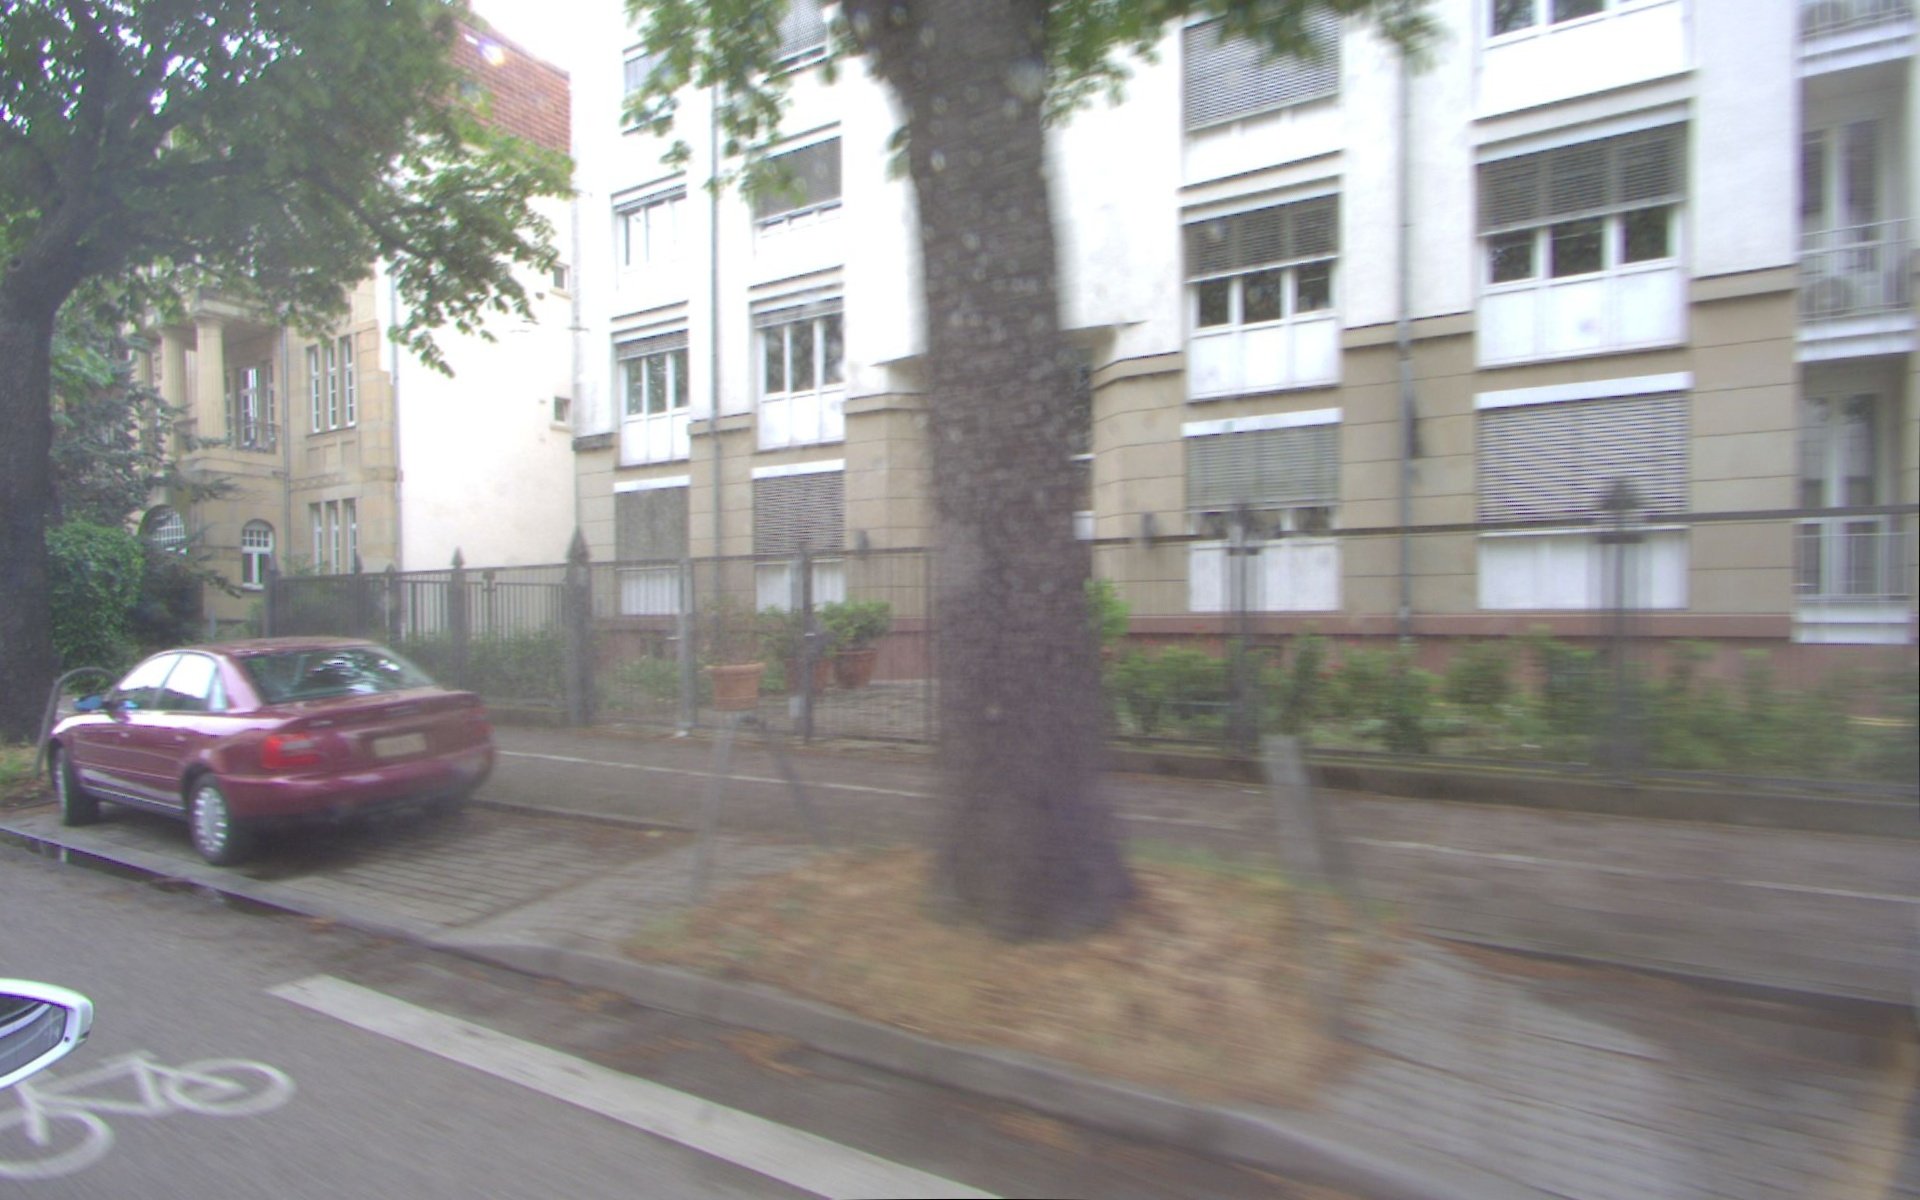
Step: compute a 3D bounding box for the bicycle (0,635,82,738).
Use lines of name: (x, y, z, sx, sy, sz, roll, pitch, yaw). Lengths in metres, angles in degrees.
bicycle: (-11.624, 1.034, 12.291, 0.425, 1.213, 1.902, 0, -1, -13)

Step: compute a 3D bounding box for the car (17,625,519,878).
car: (-5.440, 0.948, 7.734, 4.165, 1.418, 1.598, 0, 2, 31)
